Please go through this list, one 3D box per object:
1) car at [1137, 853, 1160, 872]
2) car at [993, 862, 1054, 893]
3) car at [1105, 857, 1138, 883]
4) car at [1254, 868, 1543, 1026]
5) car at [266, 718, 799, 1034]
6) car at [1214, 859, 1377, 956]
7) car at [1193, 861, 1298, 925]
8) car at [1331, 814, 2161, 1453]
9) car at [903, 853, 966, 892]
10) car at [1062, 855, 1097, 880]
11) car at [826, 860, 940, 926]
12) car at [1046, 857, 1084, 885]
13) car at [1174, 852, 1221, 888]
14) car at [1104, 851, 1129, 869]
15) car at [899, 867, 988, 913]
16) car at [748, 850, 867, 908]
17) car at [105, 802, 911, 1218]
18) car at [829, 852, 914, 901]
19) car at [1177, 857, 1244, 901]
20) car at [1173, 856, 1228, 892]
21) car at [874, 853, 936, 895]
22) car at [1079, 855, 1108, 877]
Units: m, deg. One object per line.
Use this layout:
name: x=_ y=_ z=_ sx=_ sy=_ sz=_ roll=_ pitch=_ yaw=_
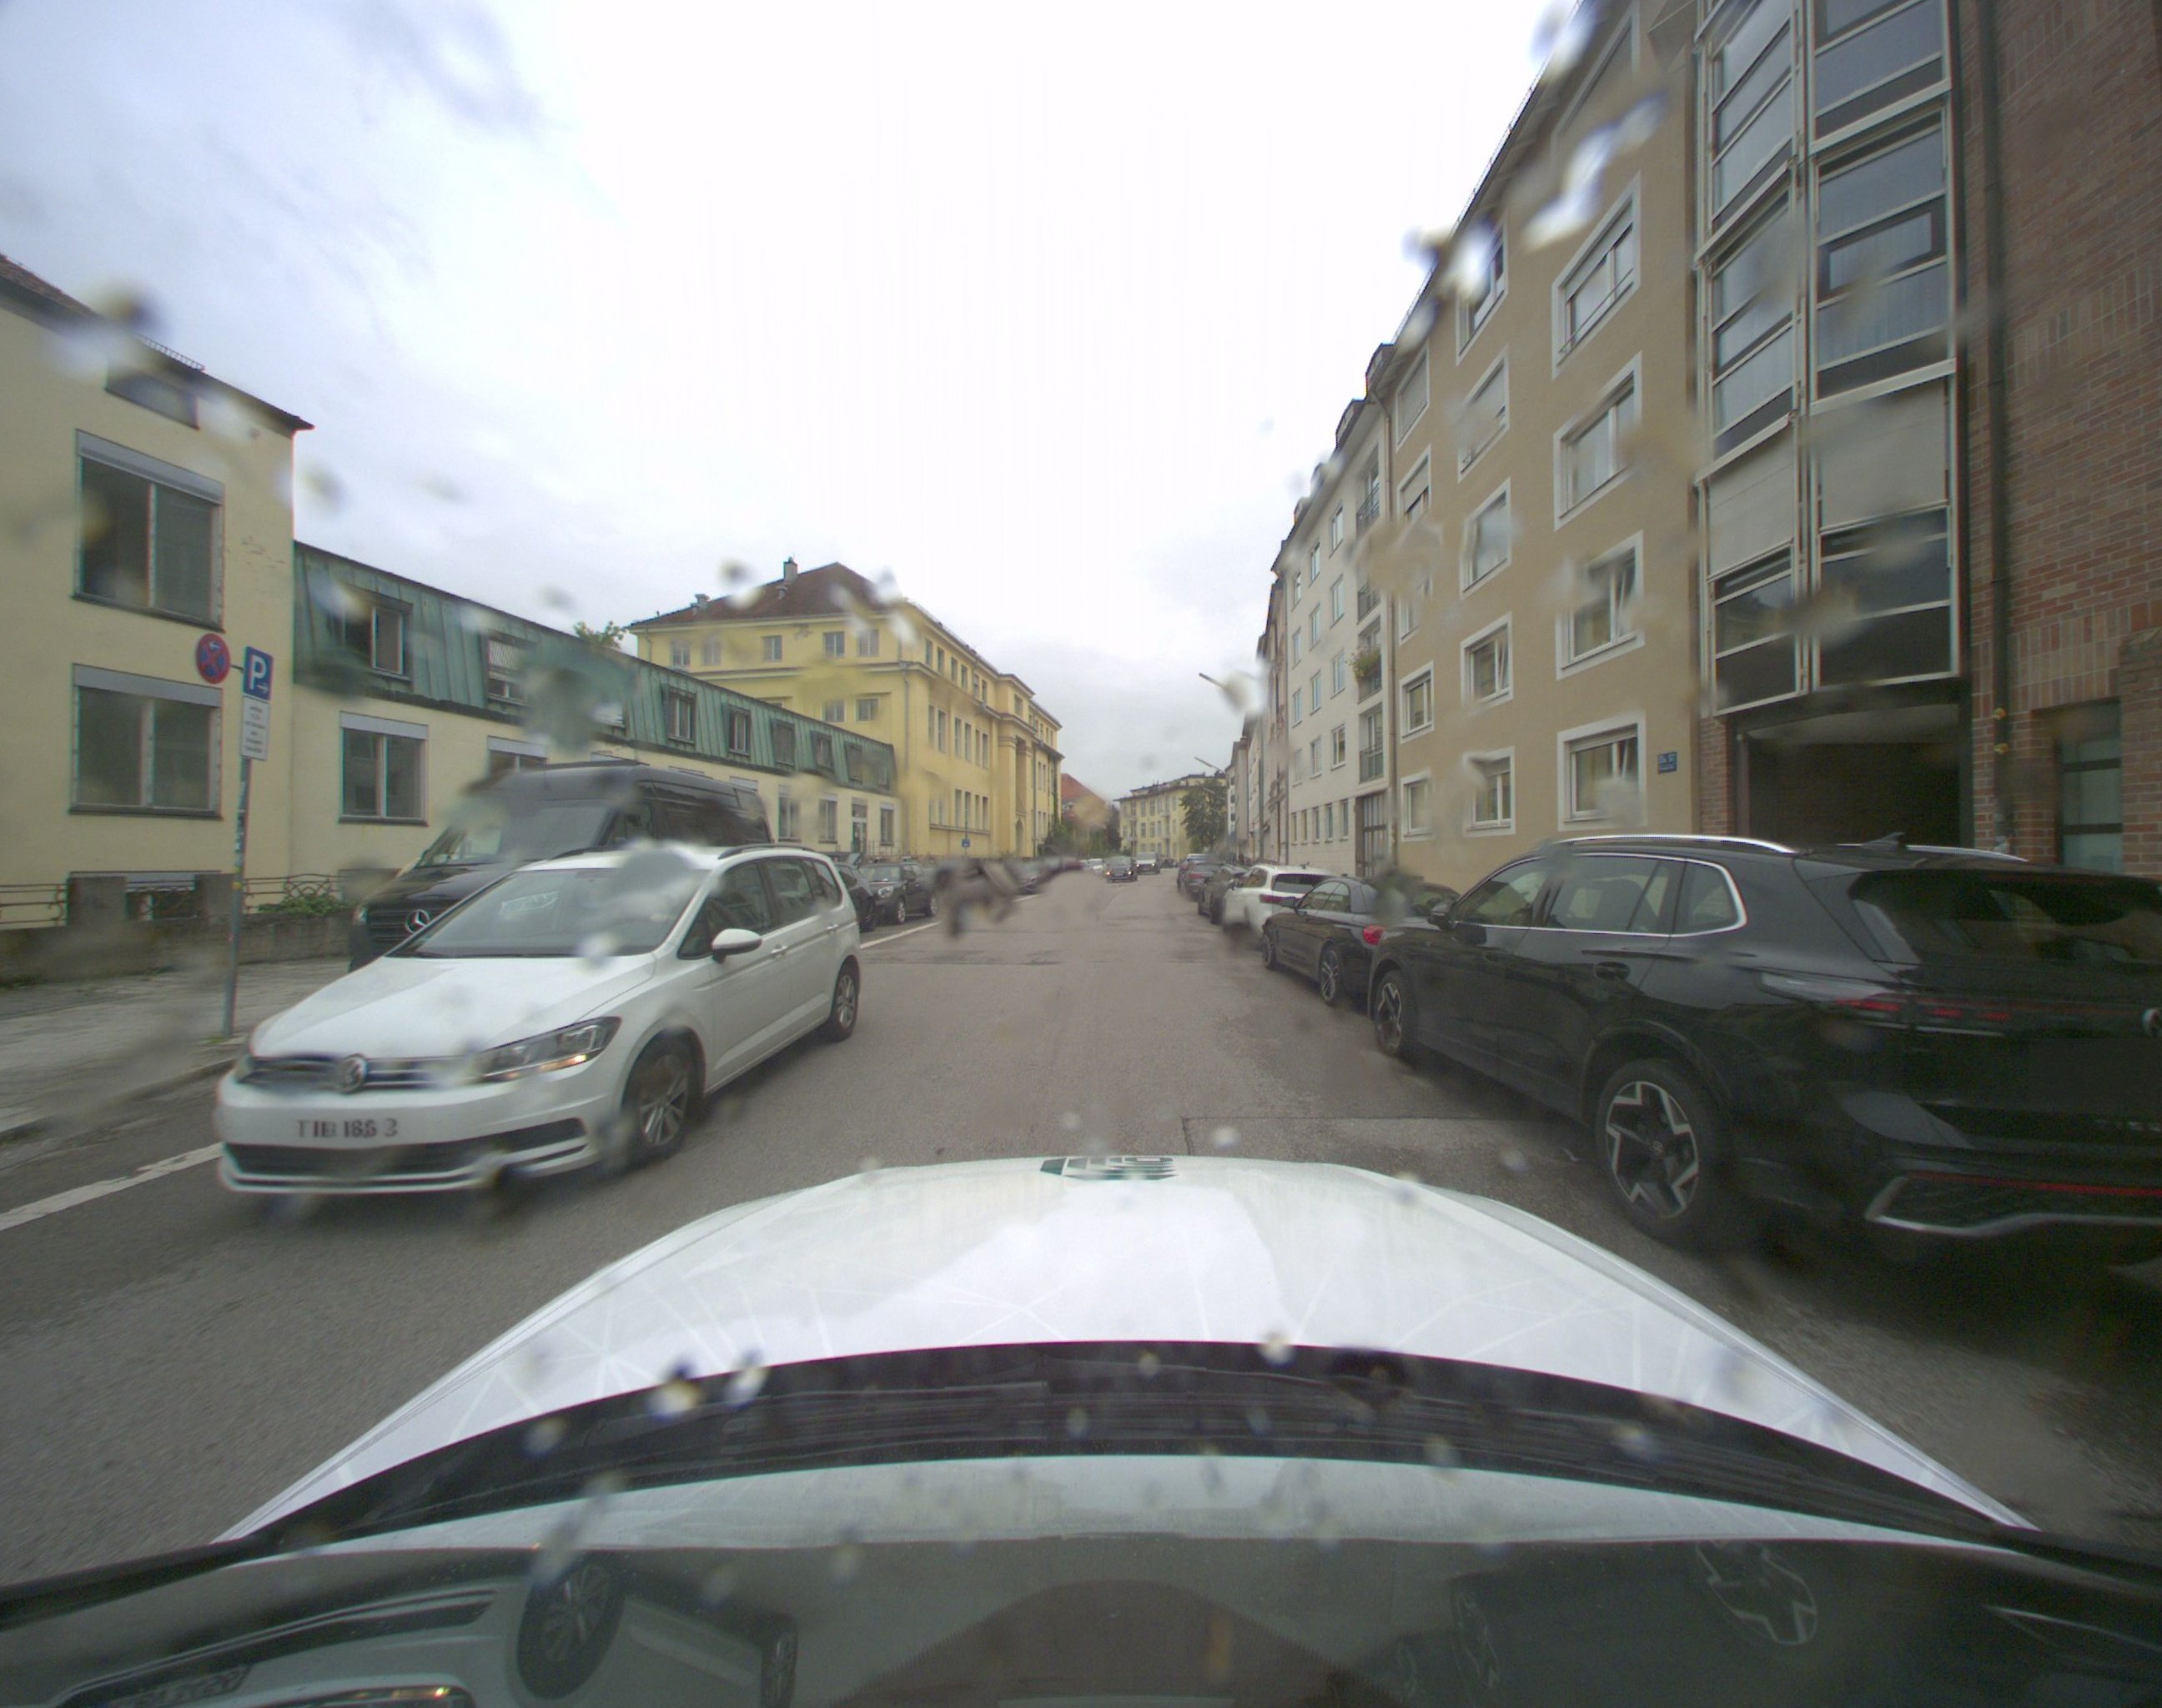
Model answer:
car: x=5.656 y=0.658 z=67.851 sx=1.689 sy=1.444 sz=3.515 roll=1 pitch=1 yaw=7
car: x=-2.505 y=1.000 z=36.242 sx=1.889 sy=1.147 sz=4.239 roll=1 pitch=1 yaw=7
car: x=2.483 y=0.923 z=49.178 sx=1.689 sy=1.444 sz=3.515 roll=1 pitch=1 yaw=7
car: x=3.461 y=0.920 z=9.854 sx=1.881 sy=1.322 sz=4.275 roll=1 pitch=1 yaw=1
car: x=-5.858 y=0.247 z=10.125 sx=2.412 sy=2.715 sz=5.955 roll=-1 pitch=-1 yaw=2
car: x=3.752 y=0.855 z=15.135 sx=1.880 sy=1.475 sz=4.745 roll=1 pitch=0 yaw=2
car: x=4.044 y=0.905 z=20.709 sx=1.880 sy=1.410 sz=4.432 roll=1 pitch=0 yaw=1
car: x=3.062 y=0.691 z=4.397 sx=1.958 sy=1.602 sz=4.671 roll=1 pitch=1 yaw=0
car: x=-6.784 y=0.835 z=38.040 sx=1.709 sy=1.660 sz=3.758 roll=1 pitch=1 yaw=9
car: x=-0.065 y=0.851 z=51.522 sx=1.688 sy=1.444 sz=3.516 roll=1 pitch=1 yaw=7
car: x=-4.985 y=0.923 z=21.048 sx=1.690 sy=1.453 sz=3.747 roll=1 pitch=1 yaw=5
car: x=-0.863 y=0.935 z=45.969 sx=1.689 sy=1.444 sz=3.515 roll=1 pitch=1 yaw=7
car: x=5.717 y=0.749 z=40.290 sx=1.879 sy=1.630 sz=4.434 roll=1 pitch=0 yaw=3
car: x=3.277 y=0.509 z=74.100 sx=1.983 sy=1.548 sz=4.007 roll=1 pitch=1 yaw=6
car: x=-4.250 y=1.075 z=25.746 sx=1.518 sy=1.202 sz=3.753 roll=1 pitch=1 yaw=11
car: x=-8.777 y=0.736 z=26.516 sx=1.982 sy=1.687 sz=4.011 roll=1 pitch=1 yaw=9
car: x=-2.828 y=0.709 z=5.544 sx=2.016 sy=1.621 sz=4.510 roll=-2 pitch=-2 yaw=4
car: x=-7.855 y=0.793 z=30.852 sx=1.709 sy=1.660 sz=3.758 roll=1 pitch=1 yaw=9
car: x=4.589 y=0.848 z=29.429 sx=1.879 sy=1.410 sz=4.434 roll=1 pitch=0 yaw=3
car: x=4.981 y=0.810 z=34.501 sx=1.879 sy=1.410 sz=4.434 roll=1 pitch=0 yaw=3
car: x=-7.375 y=0.803 z=34.312 sx=1.596 sy=1.660 sz=2.816 roll=1 pitch=1 yaw=9
car: x=0.939 y=0.824 z=58.932 sx=1.688 sy=1.444 sz=3.516 roll=1 pitch=1 yaw=7
